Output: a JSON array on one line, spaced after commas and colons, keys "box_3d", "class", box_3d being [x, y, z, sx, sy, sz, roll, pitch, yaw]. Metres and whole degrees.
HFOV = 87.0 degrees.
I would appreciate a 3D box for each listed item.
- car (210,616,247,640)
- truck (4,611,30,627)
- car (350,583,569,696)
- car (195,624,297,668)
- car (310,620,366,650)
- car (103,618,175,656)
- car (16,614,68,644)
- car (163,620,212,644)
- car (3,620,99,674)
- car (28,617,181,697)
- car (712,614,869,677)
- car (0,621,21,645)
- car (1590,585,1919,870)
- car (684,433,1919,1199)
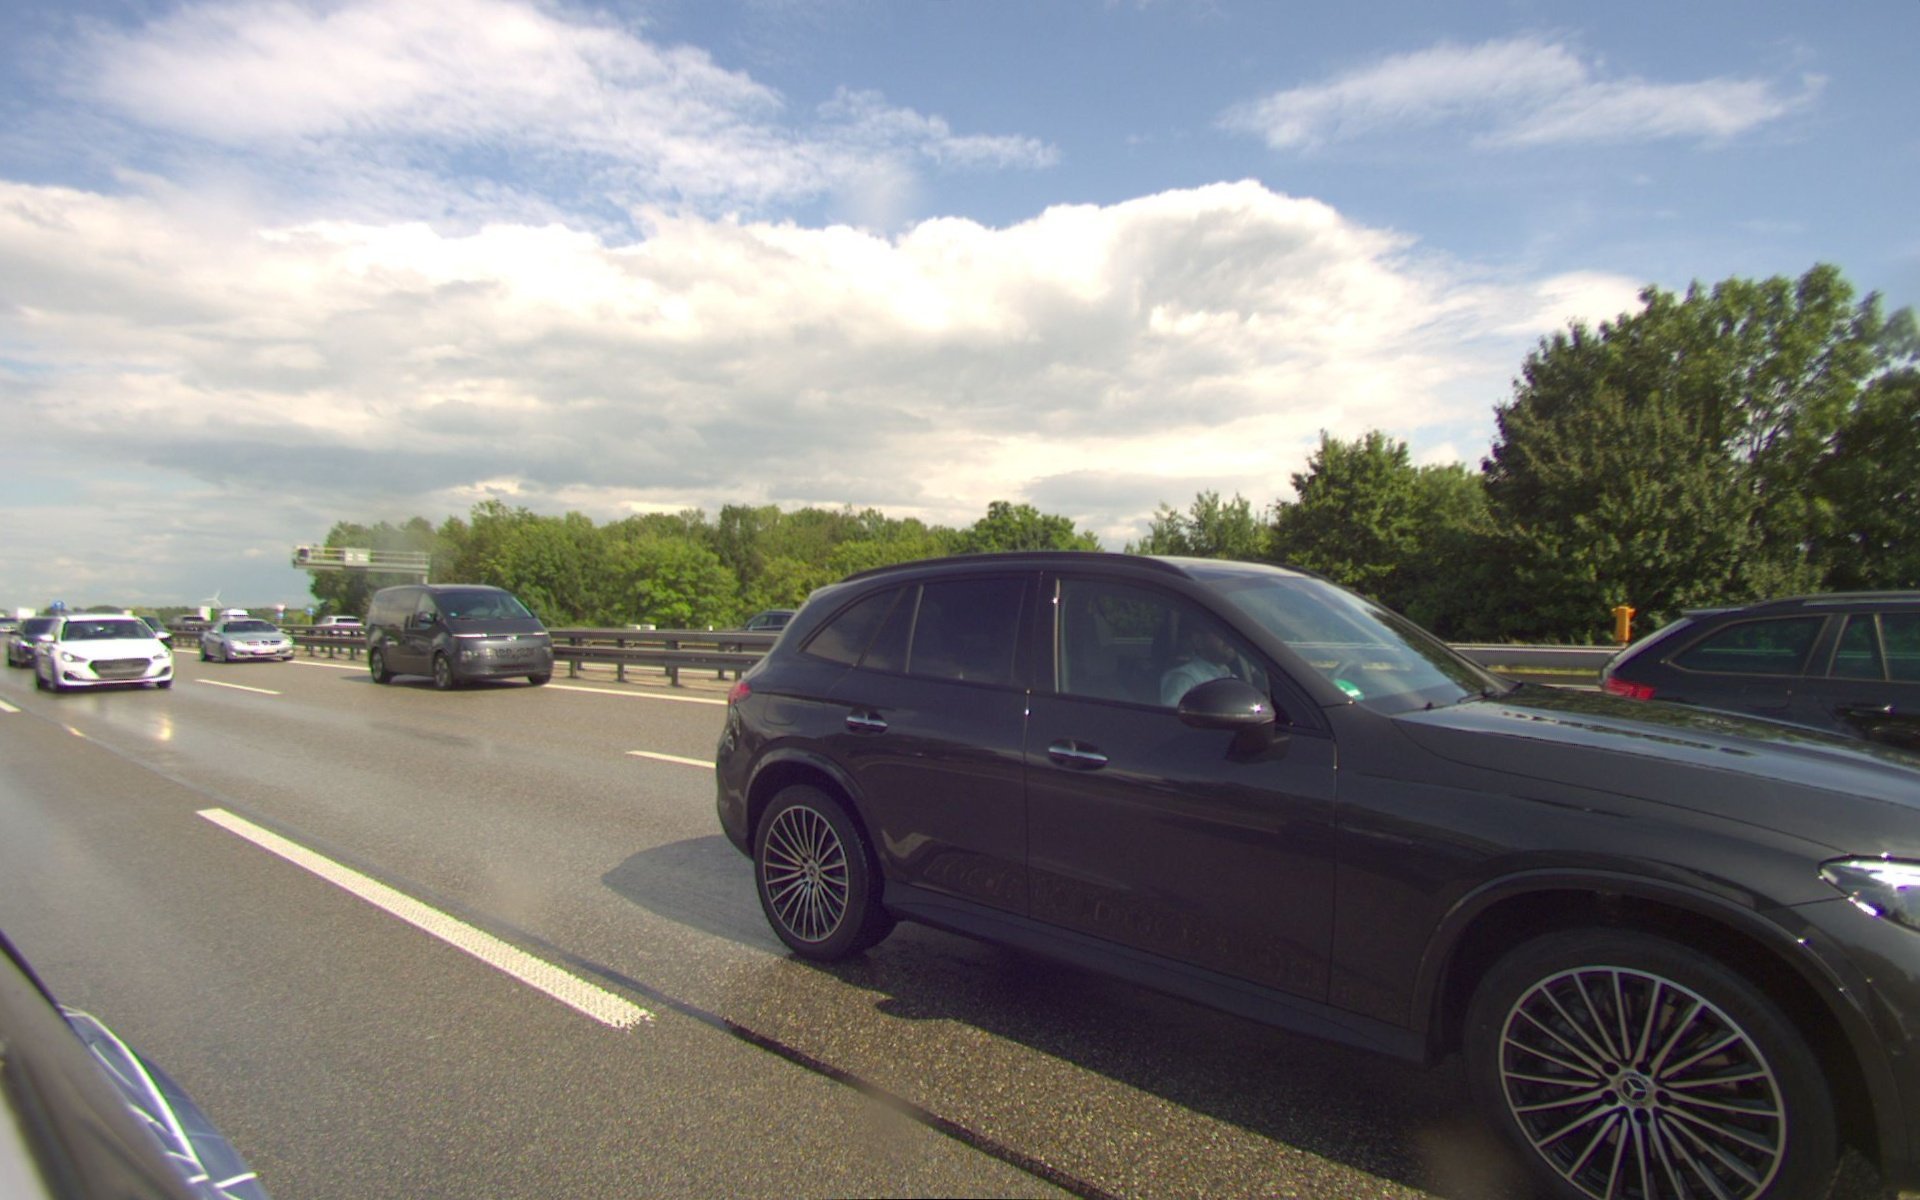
[{"box_3d": [-63.608, 2.392, 87.976, 4.365, 2.029, 1.971, -1, -1, 45], "class": "car"}, {"box_3d": [-183.621, 3.668, 197.088, 8.718, 3.009, 2.885, -1, 0, 41], "class": "truck"}, {"box_3d": [-9.864, 0.710, 19.724, 5.233, 1.932, 1.973, -1, -1, 41], "class": "car"}, {"box_3d": [-21.420, 1.327, 30.328, 3.583, 1.198, 1.832, -1, -1, 43], "class": "car"}, {"box_3d": [-36.135, 2.030, 58.754, 3.808, 1.663, 1.716, -1, -1, 40], "class": "car"}, {"box_3d": [-32.783, 1.439, 40.376, 3.999, 1.431, 1.597, -1, -1, 42], "class": "car"}, {"box_3d": [-55.893, 1.737, 61.578, 3.997, 1.763, 1.876, -1, -1, 40], "class": "car"}, {"box_3d": [-51.011, 2.105, 66.829, 3.630, 1.462, 1.826, -1, -1, 40], "class": "car"}, {"box_3d": [-25.794, 1.282, 28.680, 3.998, 1.408, 1.577, -1, -1, 41], "class": "car"}, {"box_3d": [-16.932, 1.043, 19.965, 4.239, 1.408, 1.785, -1, -1, 42], "class": "car"}, {"box_3d": [-5.084, 1.281, 29.965, 4.823, 1.697, 1.973, -1, -1, 41], "class": "car"}, {"box_3d": [-71.297, 2.438, 75.126, 3.997, 1.763, 1.876, -1, -1, 40], "class": "car"}, {"box_3d": [6.029, 0.632, 5.328, 4.370, 1.435, 1.900, -1, -1, 41], "class": "car"}, {"box_3d": [1.064, 0.558, 3.808, 4.625, 1.692, 1.856, -1, -1, 42], "class": "car"}]
